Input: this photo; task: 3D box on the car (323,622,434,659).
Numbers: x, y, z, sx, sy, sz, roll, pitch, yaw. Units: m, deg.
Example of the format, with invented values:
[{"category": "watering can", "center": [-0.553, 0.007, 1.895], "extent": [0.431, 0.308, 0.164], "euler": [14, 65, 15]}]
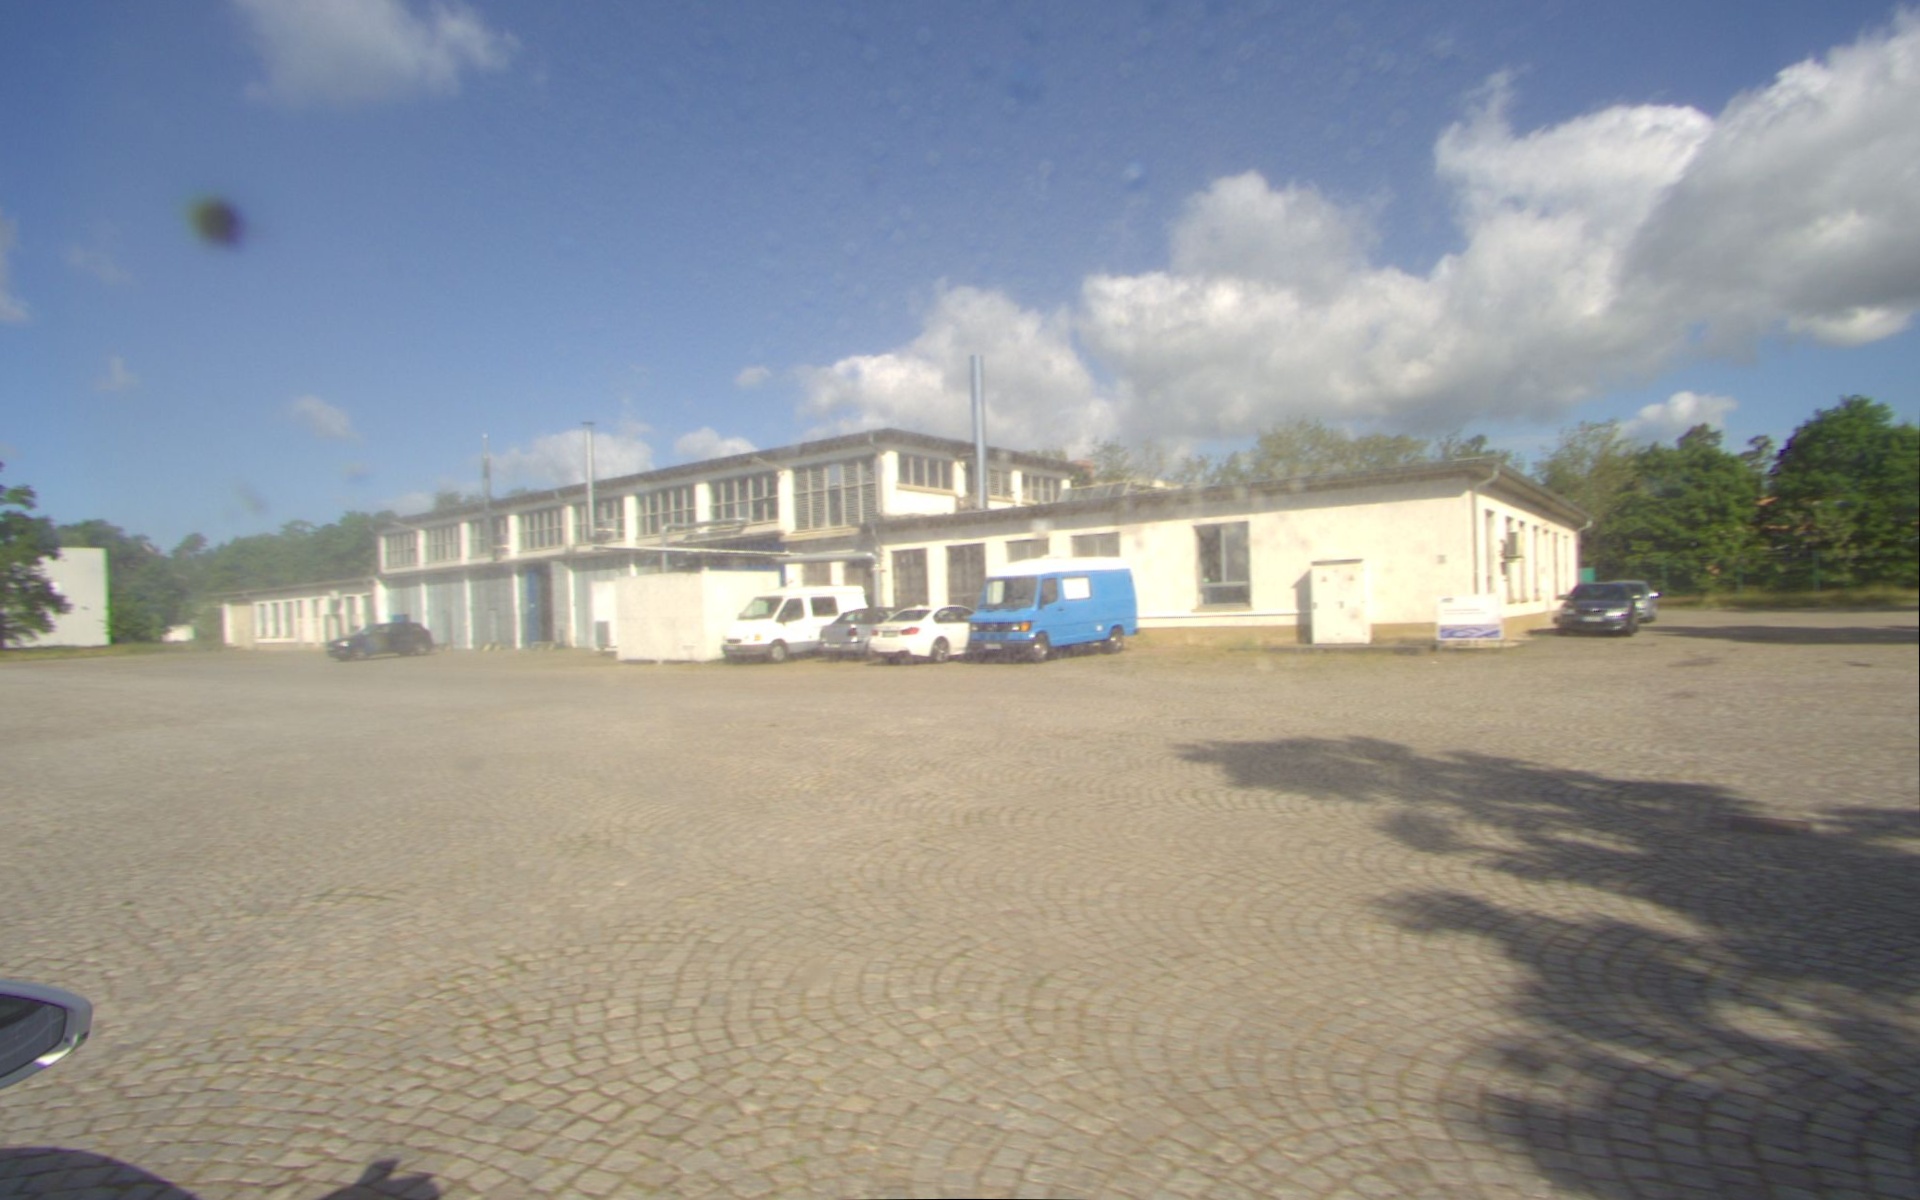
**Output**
[{"category": "car", "center": [-26.632, 1.836, 45.964], "extent": [1.718, 1.489, 4.049], "euler": [-2, 0, 36]}]

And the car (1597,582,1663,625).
[{"category": "car", "center": [23.946, 0.119, 35.752], "extent": [1.671, 1.454, 3.957], "euler": [-1, 0, 38]}]

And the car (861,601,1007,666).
[{"category": "car", "center": [-0.609, 0.838, 25.802], "extent": [1.718, 1.424, 3.708], "euler": [-3, 1, 40]}]

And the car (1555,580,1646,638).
[{"category": "car", "center": [17.653, 0.224, 27.532], "extent": [1.747, 1.454, 3.963], "euler": [-1, 0, 38]}]

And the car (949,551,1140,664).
[{"category": "car", "center": [2.235, 0.166, 24.969], "extent": [2.066, 2.515, 5.196], "euler": [-2, 0, 40]}]

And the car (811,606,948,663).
[{"category": "car", "center": [-2.210, 0.931, 28.280], "extent": [1.672, 1.417, 3.801], "euler": [-1, 0, 40]}]

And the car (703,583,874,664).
[{"category": "car", "center": [-4.945, 0.645, 29.491], "extent": [1.987, 2.109, 4.765], "euler": [-2, 0, 40]}]
